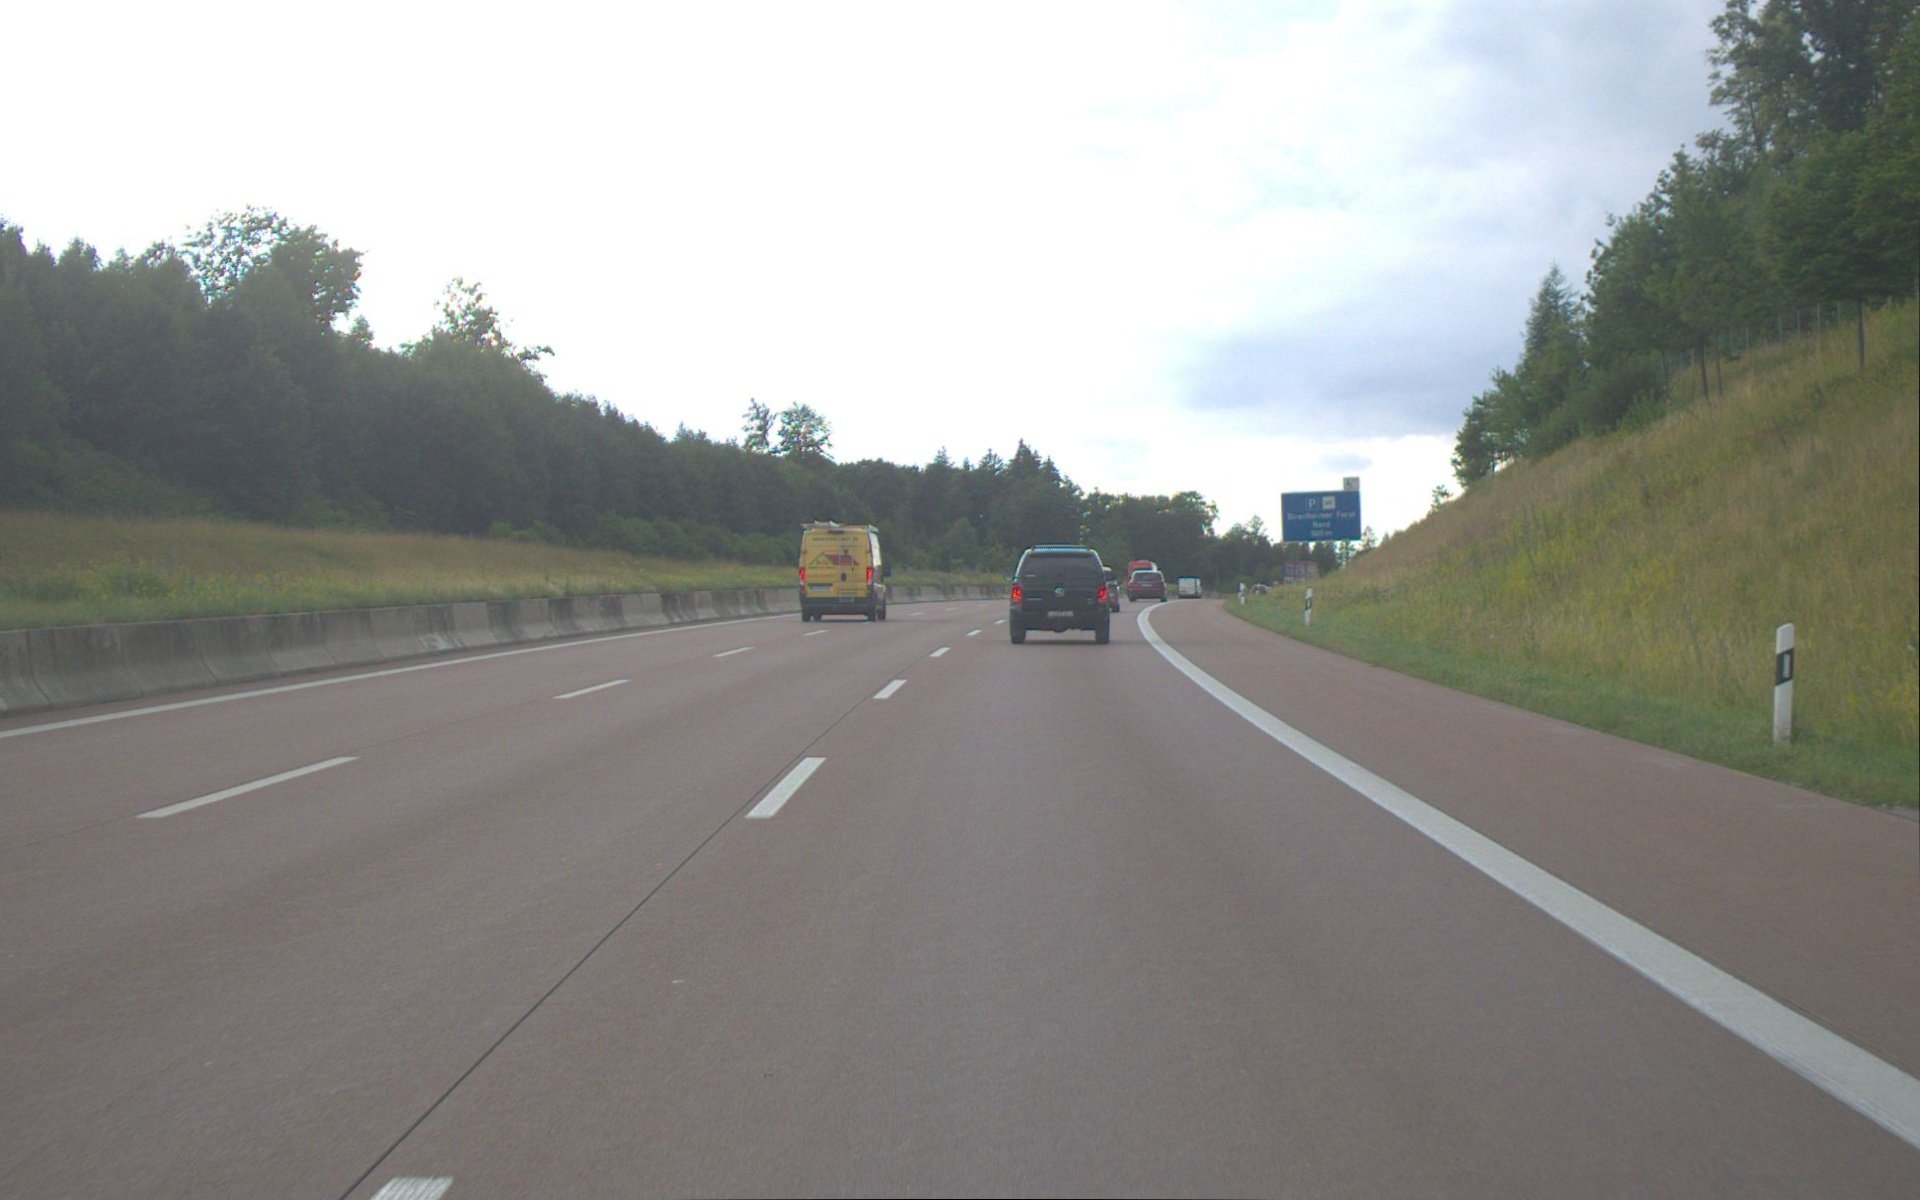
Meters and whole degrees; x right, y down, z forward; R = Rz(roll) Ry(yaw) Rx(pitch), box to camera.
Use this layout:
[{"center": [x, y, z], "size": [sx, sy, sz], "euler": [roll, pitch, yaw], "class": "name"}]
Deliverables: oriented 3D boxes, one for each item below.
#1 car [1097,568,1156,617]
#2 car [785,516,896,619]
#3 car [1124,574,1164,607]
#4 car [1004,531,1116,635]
[{"center": [5.795, -0.253, 119.115], "size": [1.978, 1.642, 4.618], "euler": [0, 0, 3], "class": "car"}, {"center": [-3.267, -0.860, 95.422], "size": [2.459, 2.697, 5.612], "euler": [-1, -1, 4], "class": "car"}, {"center": [9.684, -0.503, 180.340], "size": [1.978, 1.642, 4.618], "euler": [-1, -1, 4], "class": "car"}, {"center": [1.923, -0.291, 66.460], "size": [2.044, 1.890, 5.577], "euler": [-1, -1, 2], "class": "car"}]
